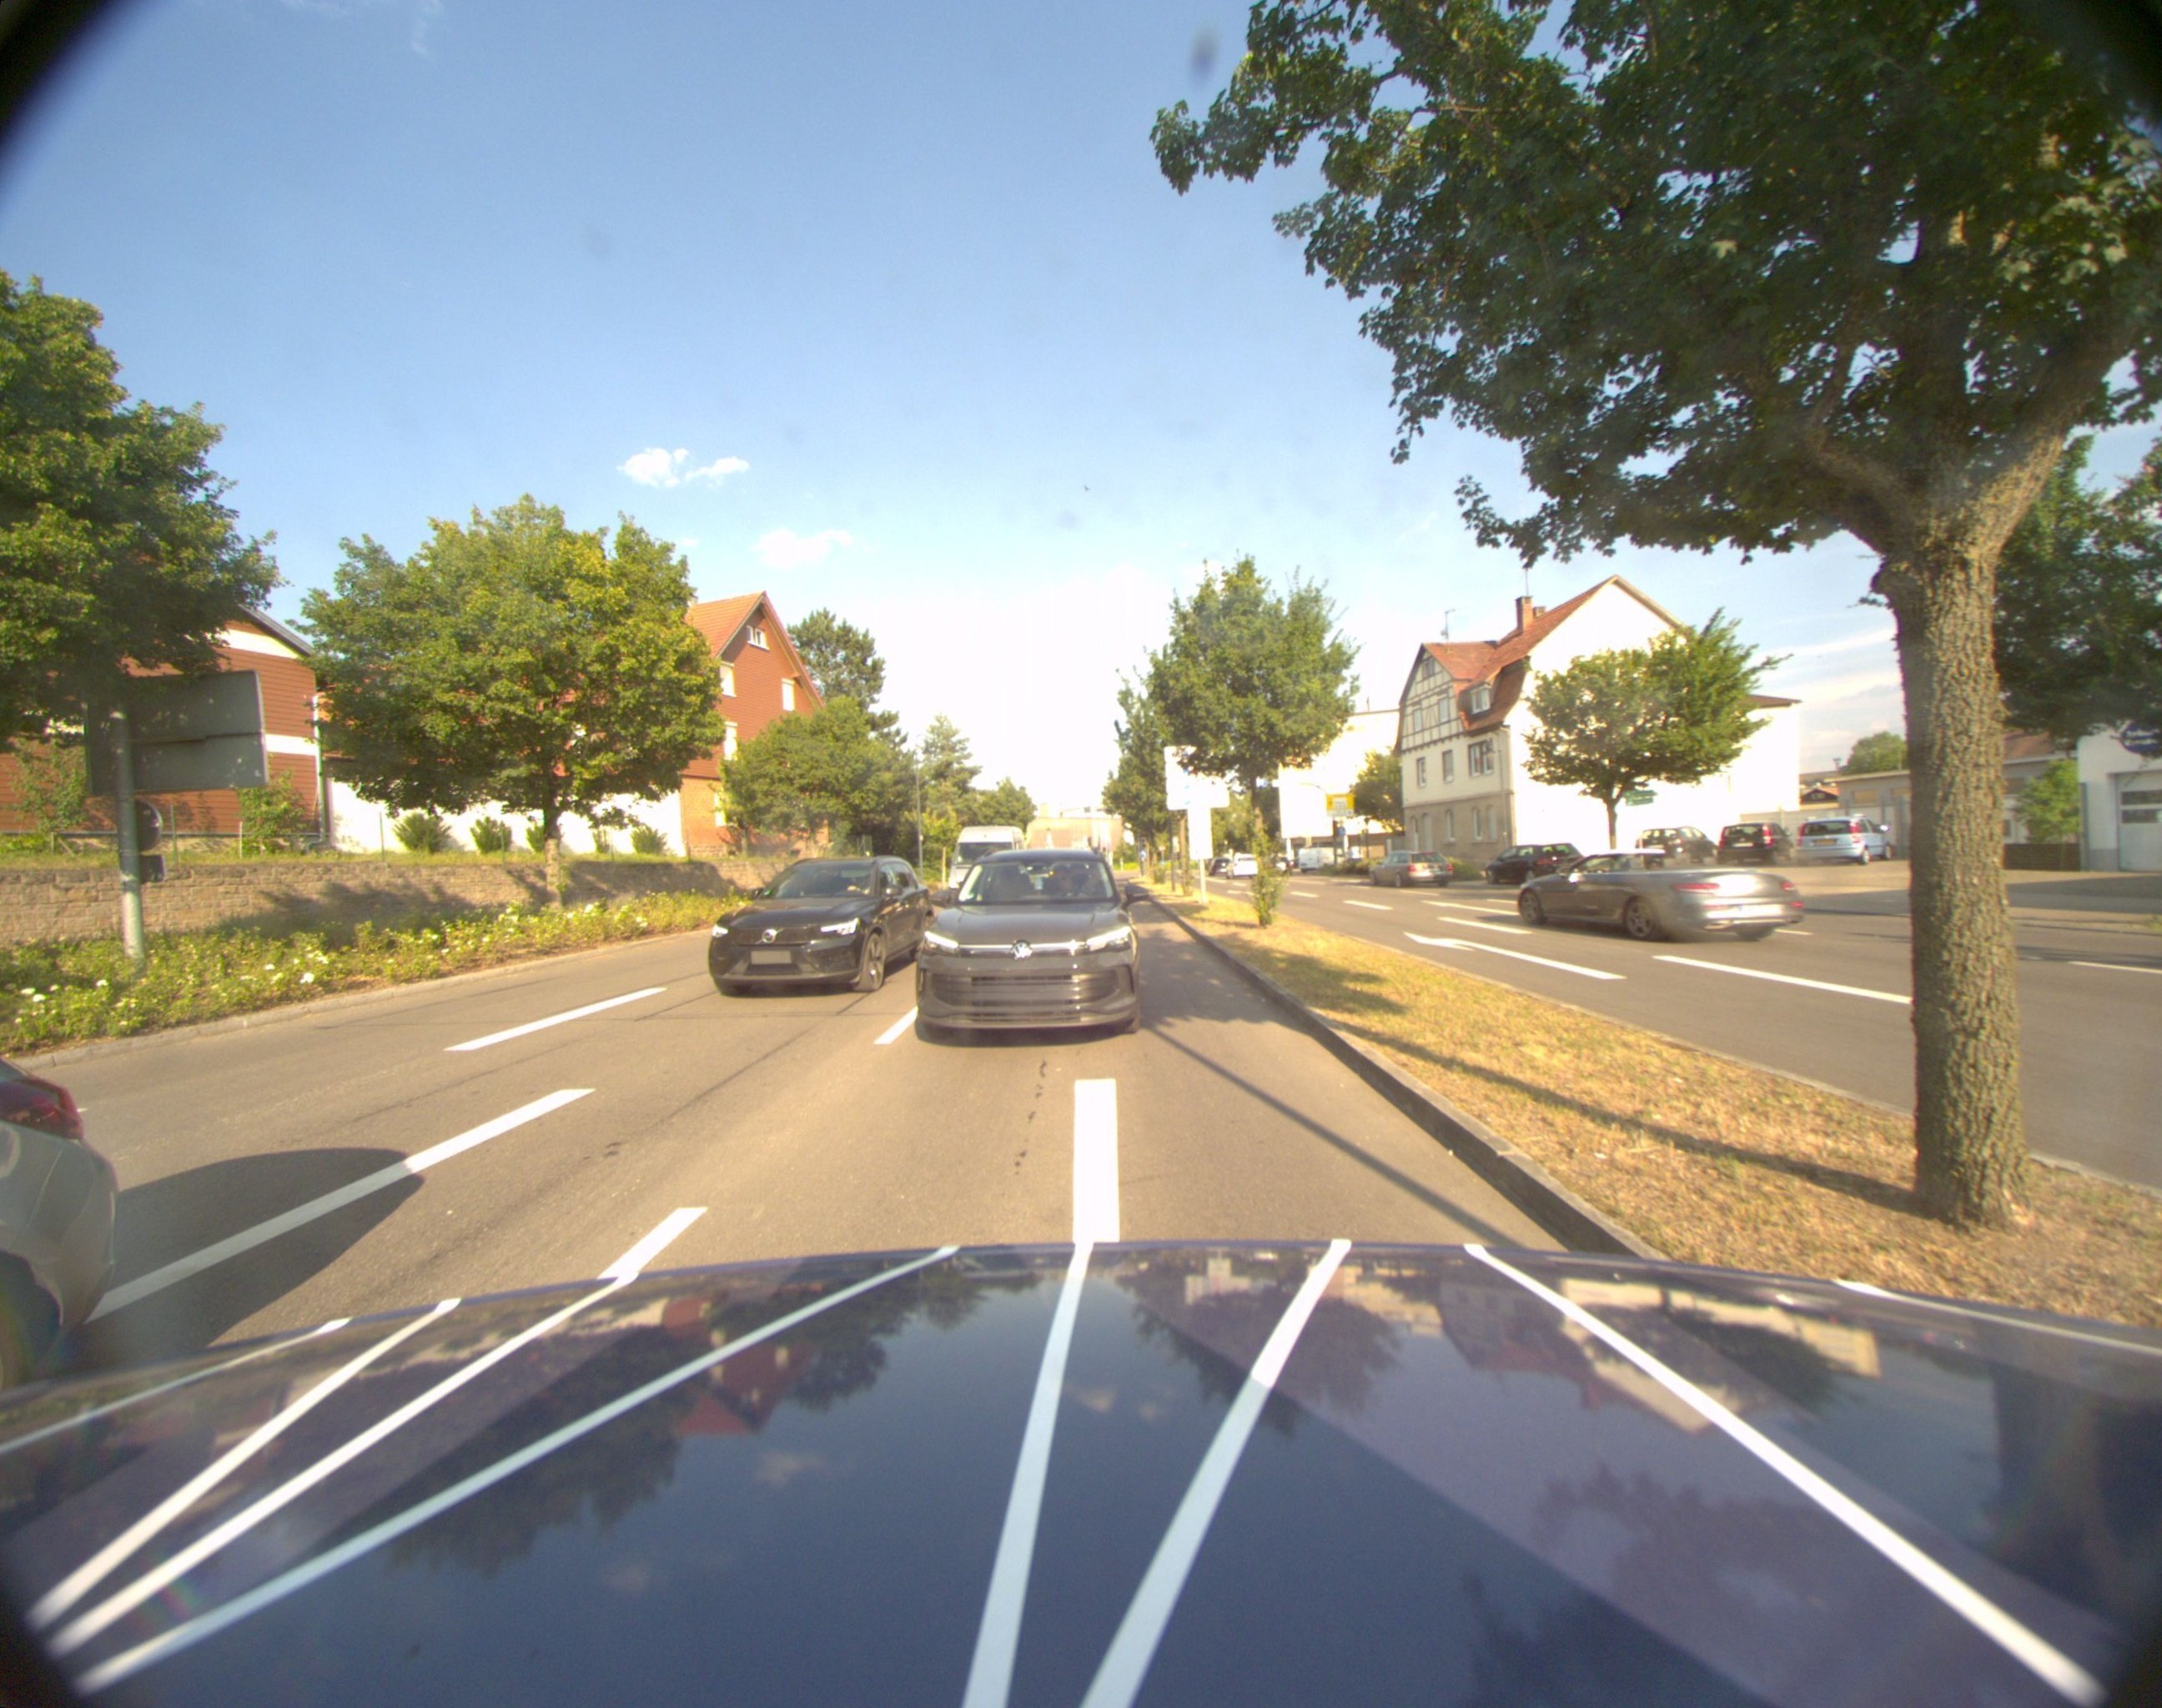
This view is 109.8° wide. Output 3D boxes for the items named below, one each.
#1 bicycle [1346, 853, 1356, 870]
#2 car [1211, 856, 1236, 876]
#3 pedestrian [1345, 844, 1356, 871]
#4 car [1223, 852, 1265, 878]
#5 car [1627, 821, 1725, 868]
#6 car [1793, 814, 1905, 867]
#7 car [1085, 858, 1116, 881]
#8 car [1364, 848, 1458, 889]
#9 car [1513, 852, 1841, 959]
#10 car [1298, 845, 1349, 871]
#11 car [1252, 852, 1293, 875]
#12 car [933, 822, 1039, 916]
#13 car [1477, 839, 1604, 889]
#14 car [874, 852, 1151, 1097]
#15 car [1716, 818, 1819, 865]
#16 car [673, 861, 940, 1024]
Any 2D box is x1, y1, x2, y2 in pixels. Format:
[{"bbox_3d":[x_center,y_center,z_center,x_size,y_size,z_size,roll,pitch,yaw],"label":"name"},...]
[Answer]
[{"bbox_3d":[20.561,0.591,57.821,0.680,1.215,1.516,-2,1,21],"label":"bicycle"},{"bbox_3d":[11.090,0.917,59.248,1.772,1.442,4.110,-2,0,9],"label":"car"},{"bbox_3d":[20.170,0.239,56.829,0.698,1.971,0.589,-2,1,21],"label":"pedestrian"},{"bbox_3d":[10.176,0.653,47.738,1.805,1.488,3.955,-2,0,1],"label":"car"},{"bbox_3d":[23.296,-0.379,29.703,4.006,1.543,1.764,-4,1,-33],"label":"car"},{"bbox_3d":[25.007,-0.448,24.715,4.006,1.543,1.763,-2,1,-33],"label":"car"},{"bbox_3d":[1.299,0.963,49.350,1.765,1.346,4.132,-2,0,4],"label":"car"},{"bbox_3d":[12.956,0.519,30.181,1.690,1.454,4.711,-2,0,0],"label":"car"},{"bbox_3d":[9.109,0.673,12.228,1.784,1.341,4.478,-2,0,1],"label":"car"},{"bbox_3d":[19.486,0.279,60.910,1.824,1.912,4.954,-1,1,44],"label":"car"},{"bbox_3d":[13.319,0.651,53.079,1.811,1.488,4.245,-2,0,1],"label":"car"},{"bbox_3d":[-2.808,0.407,24.206,2.370,2.532,6.192,-2,0,2],"label":"car"},{"bbox_3d":[15.942,0.316,26.665,1.839,1.435,4.195,-5,0,1],"label":"car"},{"bbox_3d":[-0.422,0.847,7.700,1.894,1.647,4.730,-2,0,1],"label":"car"},{"bbox_3d":[24.857,-0.470,27.481,4.006,1.543,1.763,-2,1,-33],"label":"car"},{"bbox_3d":[-3.275,0.957,10.076,1.886,1.599,4.128,-2,0,2],"label":"car"}]
